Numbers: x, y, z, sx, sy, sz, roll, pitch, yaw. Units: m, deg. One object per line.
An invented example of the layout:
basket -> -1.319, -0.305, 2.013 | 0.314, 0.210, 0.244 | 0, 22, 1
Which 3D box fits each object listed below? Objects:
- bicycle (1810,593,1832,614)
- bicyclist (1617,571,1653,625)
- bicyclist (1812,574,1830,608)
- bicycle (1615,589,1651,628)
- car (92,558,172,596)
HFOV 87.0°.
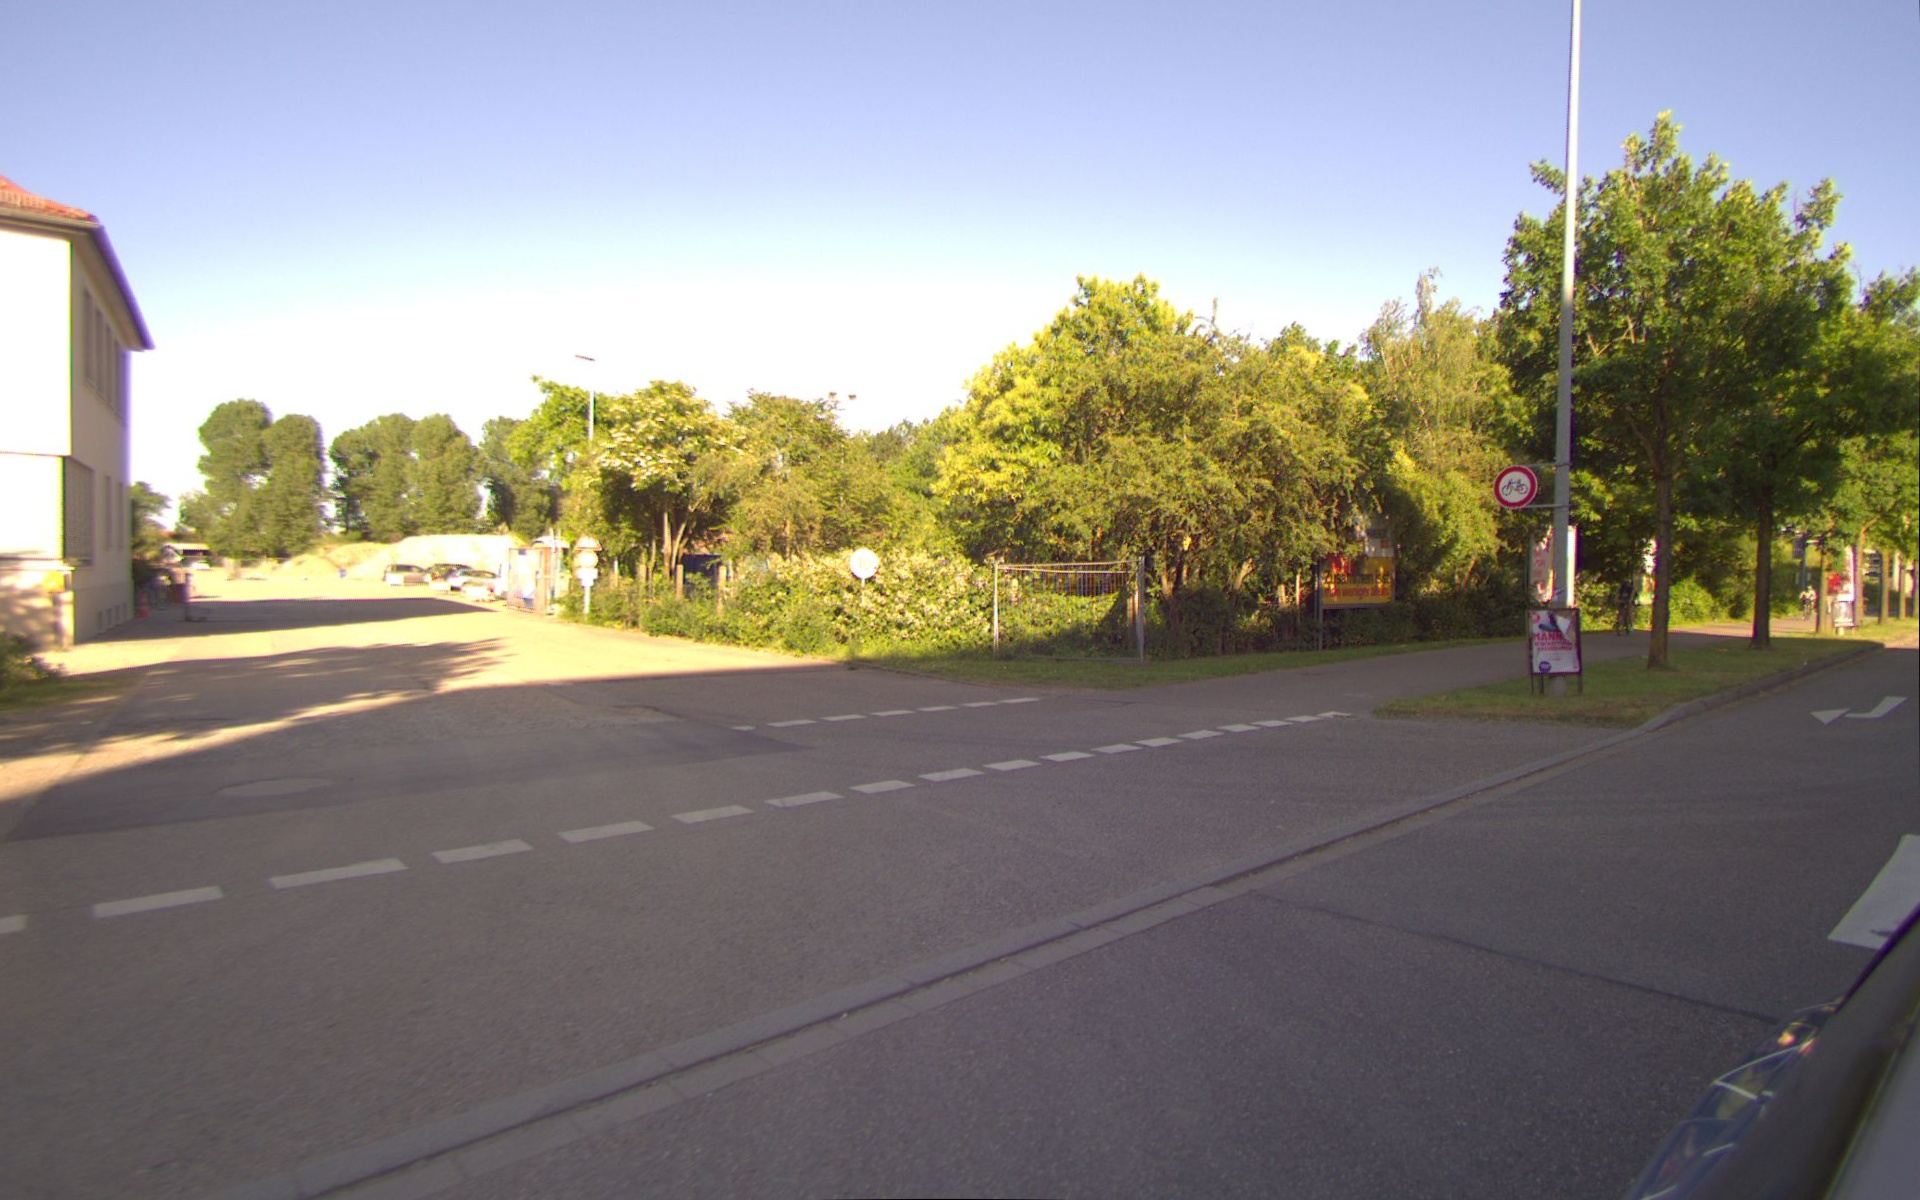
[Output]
bicycle -> 42.150, 0.155, 49.531 | 2.012, 1.004, 0.572 | 0, 1, -43
bicyclist -> 19.658, -0.062, 29.482 | 0.685, 1.541, 1.019 | 2, 2, 44
bicyclist -> 42.074, -0.433, 49.439 | 0.851, 1.630, 0.565 | -1, 2, -43
bicycle -> 19.721, 0.232, 29.646 | 0.516, 1.086, 1.905 | 2, 2, 44
car -> -39.883, -1.105, 48.778 | 2.950, 1.814, 1.368 | 0, 1, -41
